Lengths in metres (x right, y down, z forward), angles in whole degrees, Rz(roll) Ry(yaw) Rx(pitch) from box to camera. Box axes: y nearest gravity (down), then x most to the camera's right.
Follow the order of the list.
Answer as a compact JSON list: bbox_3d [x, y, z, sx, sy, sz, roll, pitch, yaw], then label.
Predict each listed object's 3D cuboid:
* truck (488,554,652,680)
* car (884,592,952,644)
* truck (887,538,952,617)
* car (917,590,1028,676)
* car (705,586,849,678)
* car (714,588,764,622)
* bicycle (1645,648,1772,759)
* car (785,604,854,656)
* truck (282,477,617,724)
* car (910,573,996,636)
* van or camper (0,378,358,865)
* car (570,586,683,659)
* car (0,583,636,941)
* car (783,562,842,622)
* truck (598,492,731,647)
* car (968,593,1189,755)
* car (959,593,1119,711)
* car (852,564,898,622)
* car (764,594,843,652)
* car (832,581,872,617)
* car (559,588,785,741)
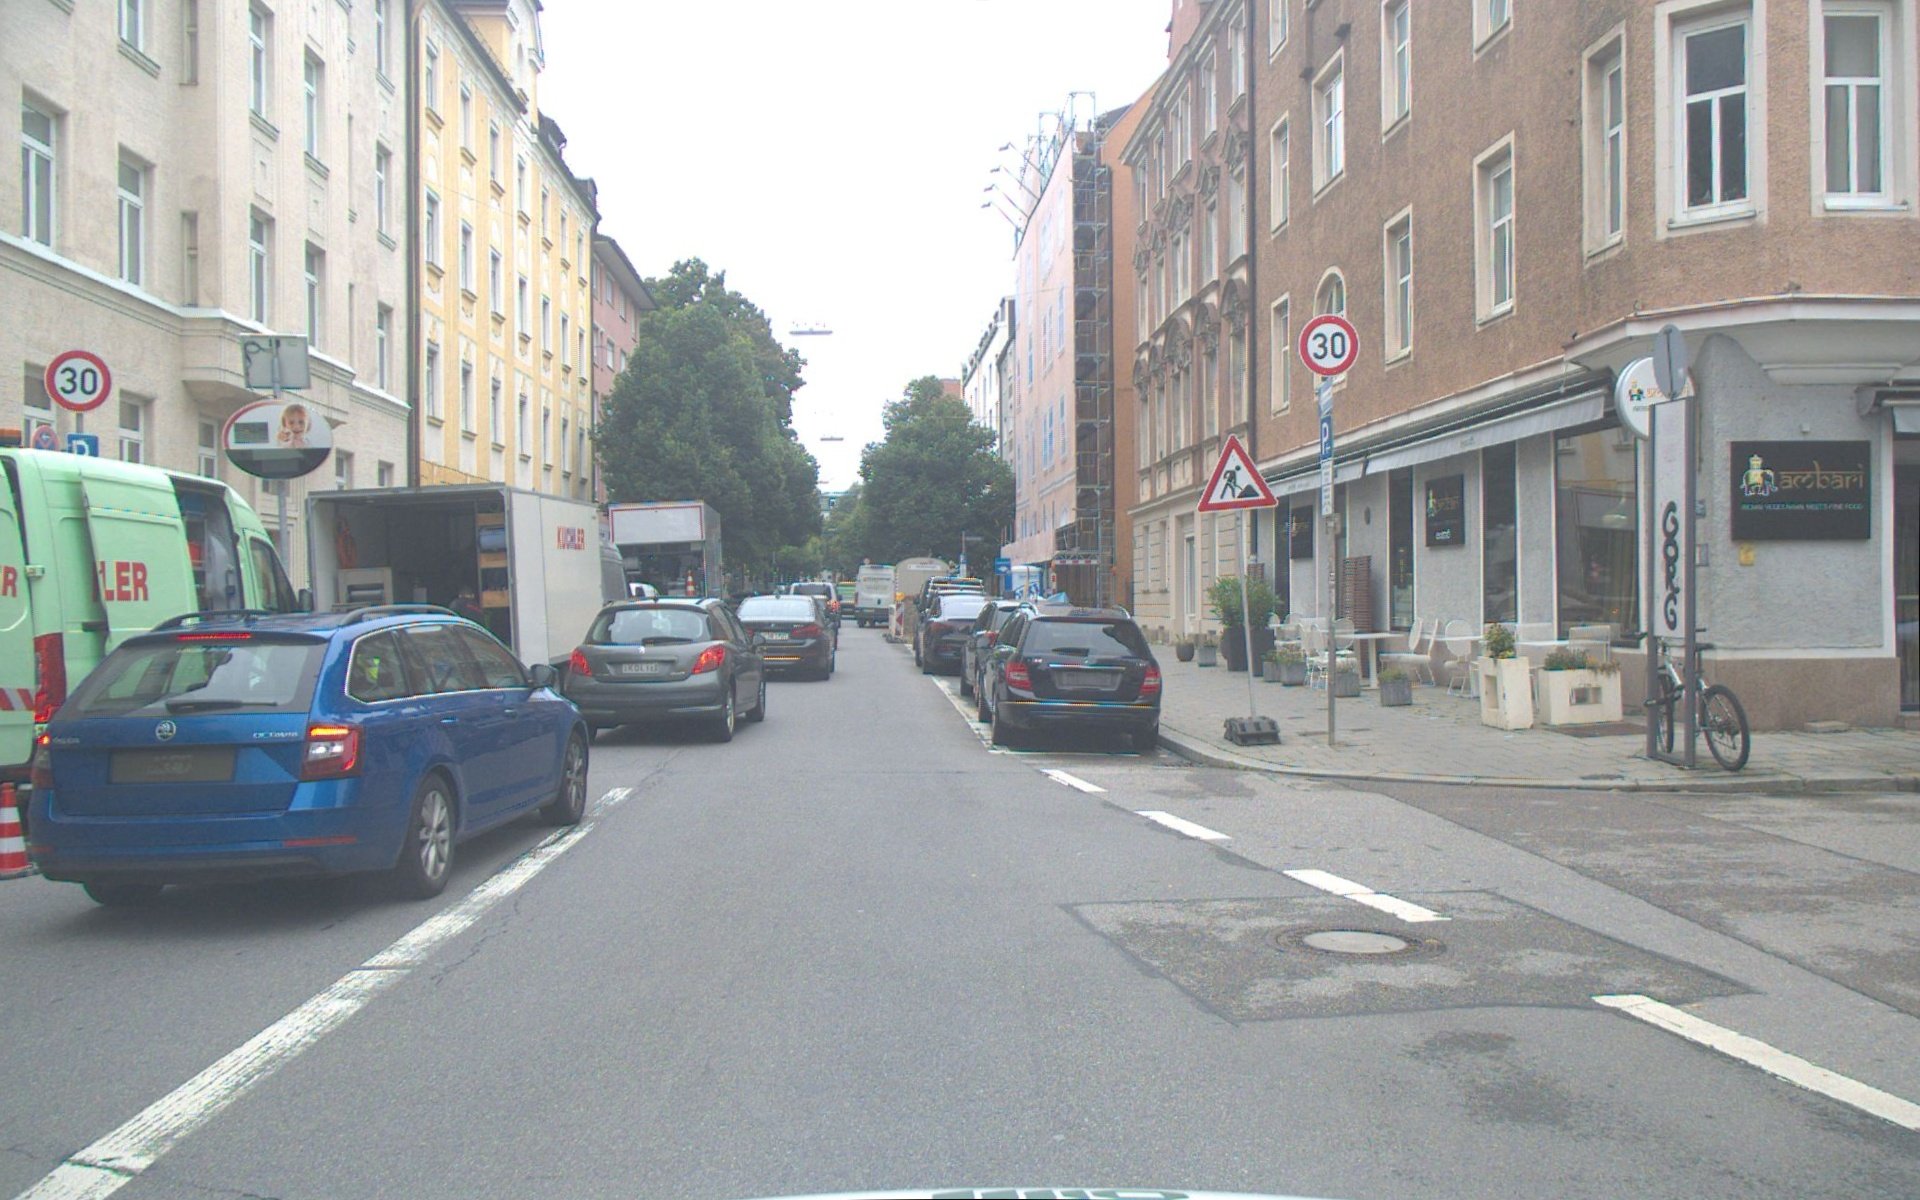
[{"bbox_3d":[-7.292,0.289,31.458,2.241,2.209,4.803,0,0,-4],"label":"truck"},{"bbox_3d":[-1.308,0.517,50.395,1.950,1.454,4.139,-1,1,-2],"label":"car"},{"bbox_3d":[-1.664,-0.878,66.540,2.442,3.025,5.324,0,0,-3],"label":"truck"},{"bbox_3d":[0.185,0.594,32.652,1.808,1.454,4.303,2,1,-4],"label":"car"},{"bbox_3d":[-3.169,0.506,29.651,1.949,1.454,4.907,0,1,1],"label":"car"},{"bbox_3d":[-9.722,0.203,73.005,1.901,1.473,3.863,0,0,-4],"label":"car"},{"bbox_3d":[6.201,0.838,13.759,0.447,0.819,1.326,0,1,-1],"label":"bicycle"},{"bbox_3d":[-4.385,0.905,52.031,1.950,1.454,4.139,-1,1,-2],"label":"car"},{"bbox_3d":[-6.844,-0.061,23.391,2.717,2.923,7.199,-1,1,-2],"label":"truck"},{"bbox_3d":[-0.231,0.072,40.629,1.950,1.454,4.139,-1,1,-2],"label":"car"},{"bbox_3d":[-6.997,0.086,12.854,2.548,2.889,6.183,-1,1,-2],"label":"van or camper"},{"bbox_3d":[-7.756,0.495,38.817,1.950,1.639,4.138,0,0,-2],"label":"car"},{"bbox_3d":[-3.406,0.718,9.377,1.945,1.479,4.736,-1,-1,3],"label":"car"},{"bbox_3d":[-5.362,-0.330,60.542,1.950,2.111,4.139,-1,1,-2],"label":"car"},{"bbox_3d":[-8.152,-0.801,46.400,2.953,4.021,6.989,0,0,-4],"label":"truck"},{"bbox_3d":[1.178,0.722,18.301,1.808,1.454,4.180,2,1,-4],"label":"car"},{"bbox_3d":[1.058,0.687,24.145,1.808,1.454,4.137,2,1,-4],"label":"car"},{"bbox_3d":[-3.746,-0.311,73.439,1.900,2.523,4.781,0,0,-1],"label":"car"},{"bbox_3d":[-4.296,0.591,45.880,1.950,1.454,4.139,-1,1,-2],"label":"car"},{"bbox_3d":[-5.893,-0.052,90.755,1.953,1.937,3.999,1,0,-1],"label":"car"},{"bbox_3d":[-3.062,0.638,18.383,1.722,1.486,4.074,-1,0,1],"label":"car"}]
